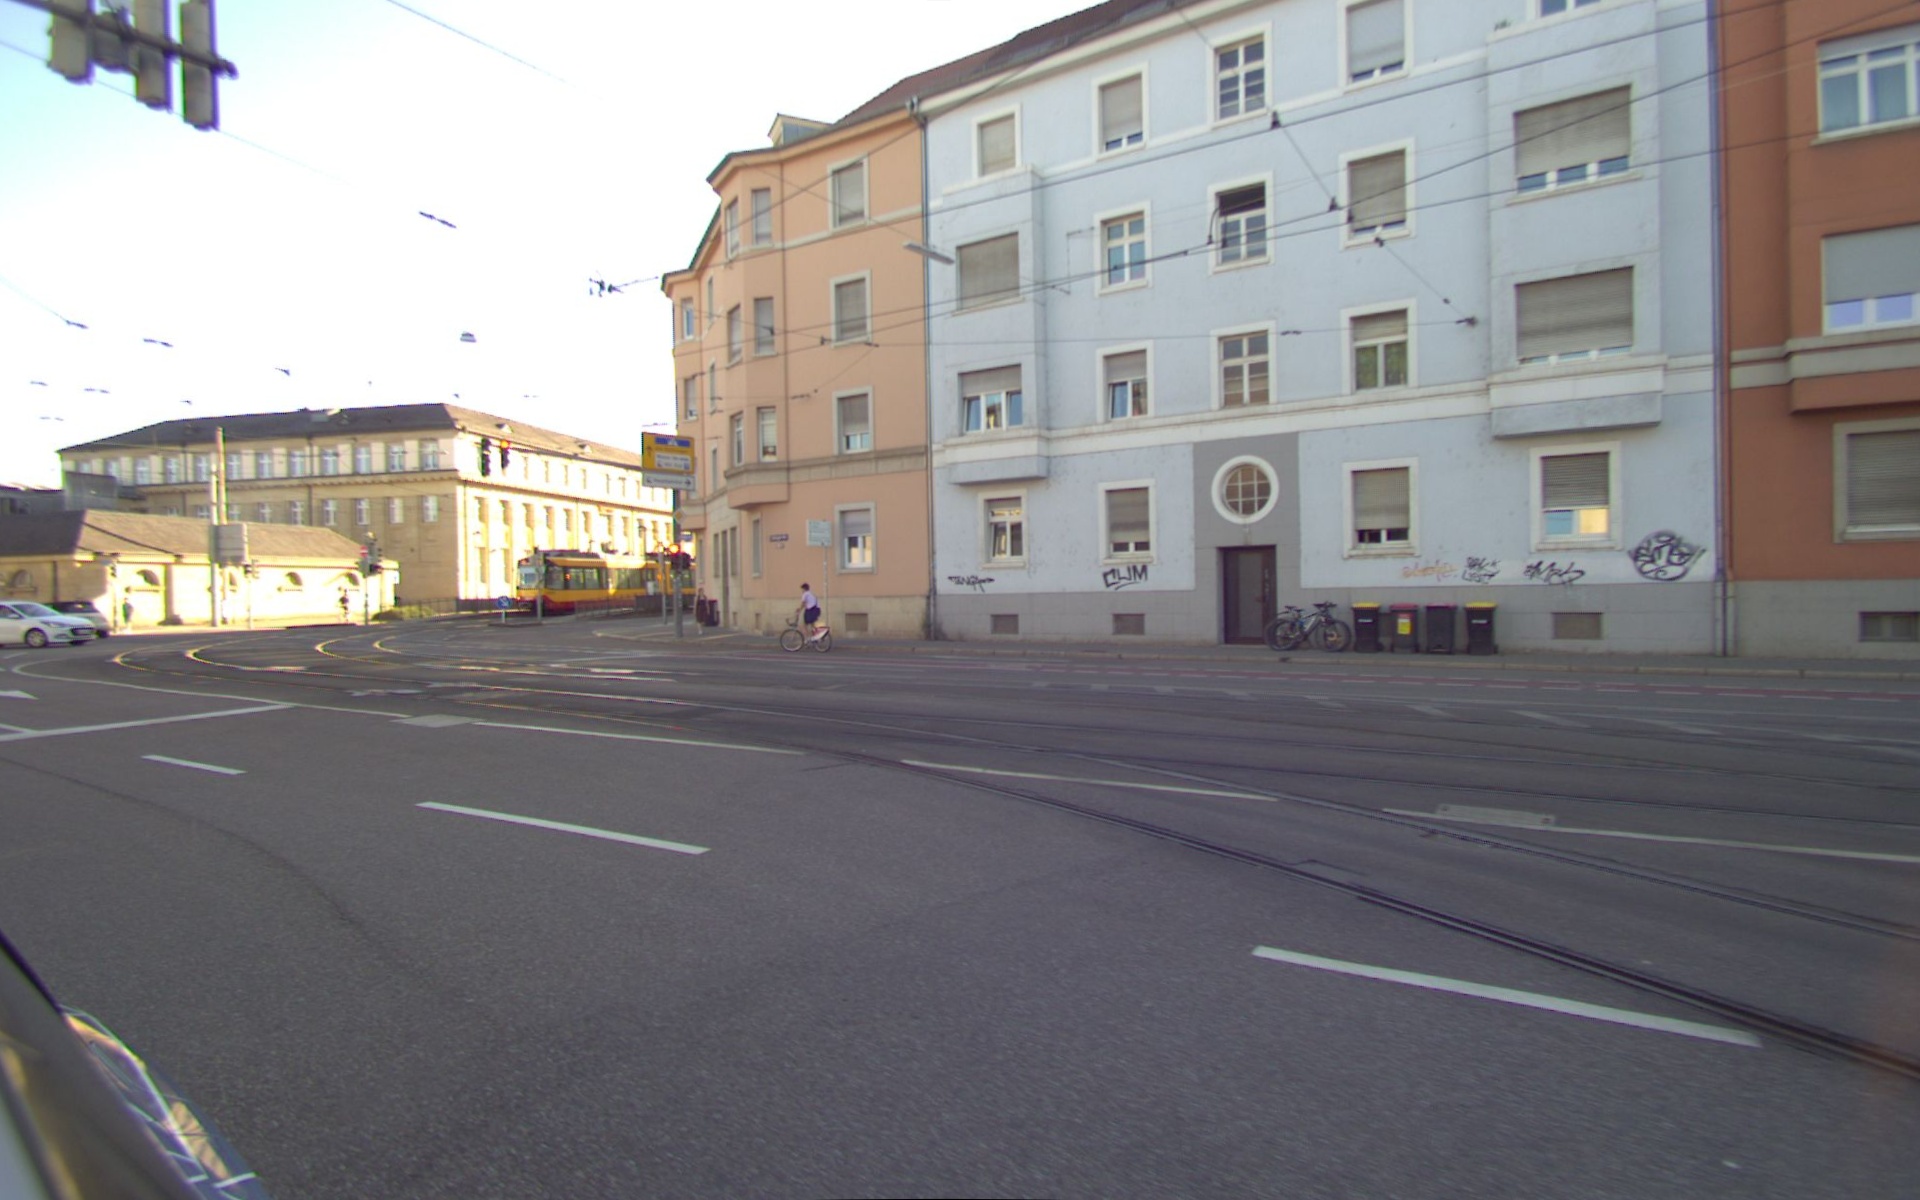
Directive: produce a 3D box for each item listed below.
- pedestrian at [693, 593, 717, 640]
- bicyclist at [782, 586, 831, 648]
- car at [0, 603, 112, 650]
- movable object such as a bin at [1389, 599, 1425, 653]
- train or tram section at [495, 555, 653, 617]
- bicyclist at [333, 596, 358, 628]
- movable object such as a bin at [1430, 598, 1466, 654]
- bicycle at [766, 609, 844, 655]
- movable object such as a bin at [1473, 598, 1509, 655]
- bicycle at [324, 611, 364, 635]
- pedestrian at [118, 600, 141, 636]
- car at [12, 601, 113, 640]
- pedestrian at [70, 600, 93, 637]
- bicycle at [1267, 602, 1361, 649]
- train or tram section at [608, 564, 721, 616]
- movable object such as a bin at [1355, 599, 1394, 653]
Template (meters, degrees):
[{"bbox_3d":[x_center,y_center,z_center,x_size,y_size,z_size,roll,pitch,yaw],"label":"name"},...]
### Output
[{"bbox_3d":[-8.667,0.562,34.444,0.665,1.575,0.722,-1,0,-23],"label":"pedestrian"},{"bbox_3d":[-4.192,0.460,27.649,1.122,1.655,0.740,-1,0,33],"label":"bicyclist"},{"bbox_3d":[-29.351,0.828,31.653,4.042,1.404,1.795,-1,0,-5],"label":"car"},{"bbox_3d":[9.416,0.540,21.322,0.581,1.114,0.697,-1,1,33],"label":"movable object such as a bin"},{"bbox_3d":[-22.936,-0.835,61.251,3.134,3.346,11.777,-1,0,11],"label":"train or tram section"},{"bbox_3d":[-32.553,0.654,53.630,0.669,1.652,0.938,-1,1,6],"label":"bicyclist"},{"bbox_3d":[10.074,0.520,20.899,0.581,1.114,0.697,-1,1,33],"label":"movable object such as a bin"},{"bbox_3d":[-4.251,0.864,27.678,2.146,1.200,0.740,-1,0,33],"label":"bicycle"},{"bbox_3d":[10.730,0.530,20.445,0.581,1.114,0.697,-1,1,33],"label":"movable object such as a bin"},{"bbox_3d":[-32.577,1.209,53.542,0.677,1.144,2.071,-1,2,5],"label":"bicycle"},{"bbox_3d":[-37.966,0.825,46.272,0.615,1.652,0.490,-1,0,-15],"label":"pedestrian"},{"bbox_3d":[-33.569,0.770,37.849,3.517,1.385,1.716,-1,0,28],"label":"car"},{"bbox_3d":[-40.325,0.841,46.437,0.615,1.652,0.516,-1,0,-15],"label":"pedestrian"},{"bbox_3d":[7.832,0.543,22.439,1.871,0.987,0.601,-1,1,33],"label":"bicycle"},{"bbox_3d":[-20.807,-0.790,72.186,3.132,3.381,10.644,-1,1,11],"label":"train or tram section"},{"bbox_3d":[8.889,0.543,21.684,0.646,1.114,0.697,-1,1,33],"label":"movable object such as a bin"}]
